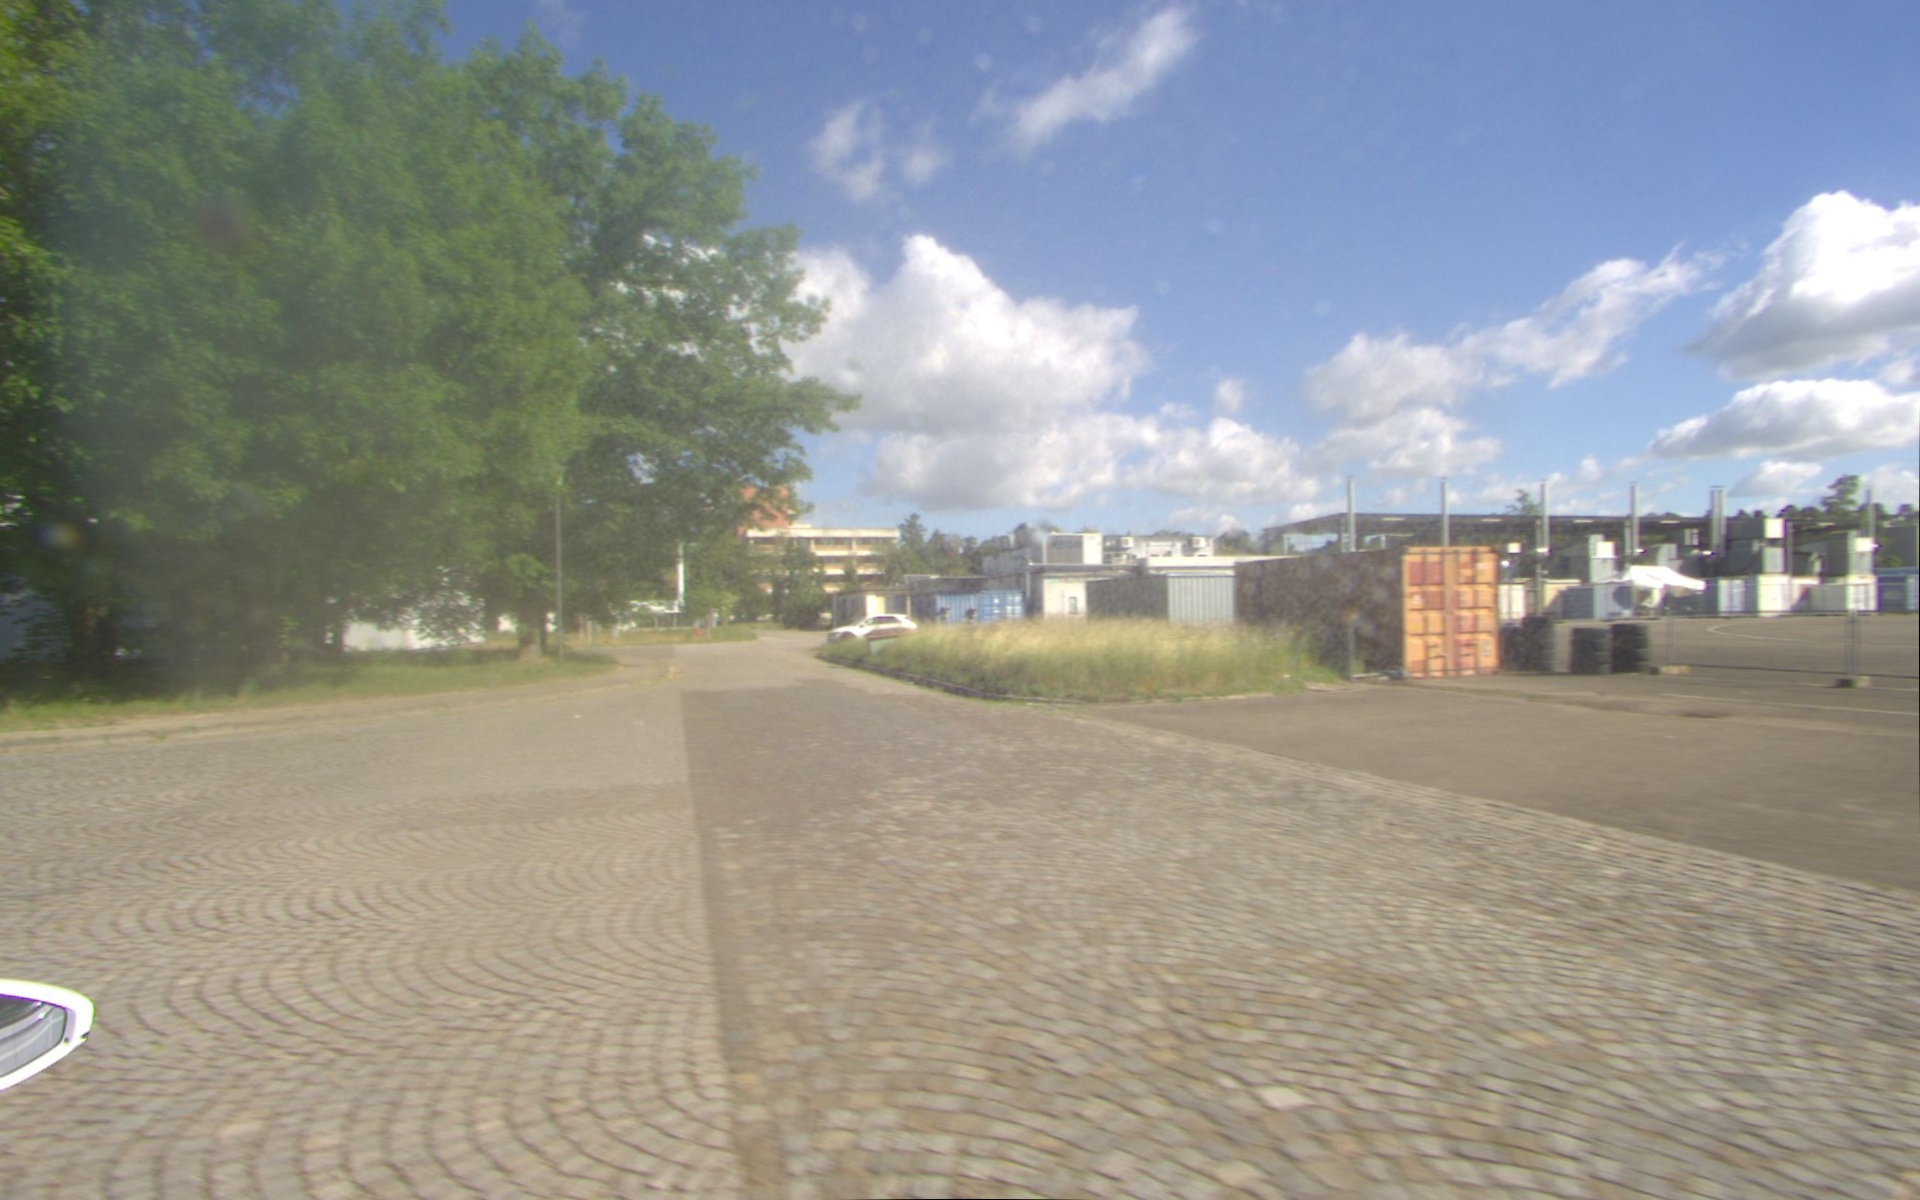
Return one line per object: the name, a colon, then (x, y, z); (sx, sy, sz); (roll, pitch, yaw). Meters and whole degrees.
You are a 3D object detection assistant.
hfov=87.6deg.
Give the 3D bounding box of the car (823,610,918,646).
car: (-4.518, 1.397, 50.408); (4.440, 1.669, 1.996); (-1, 0, -18)
